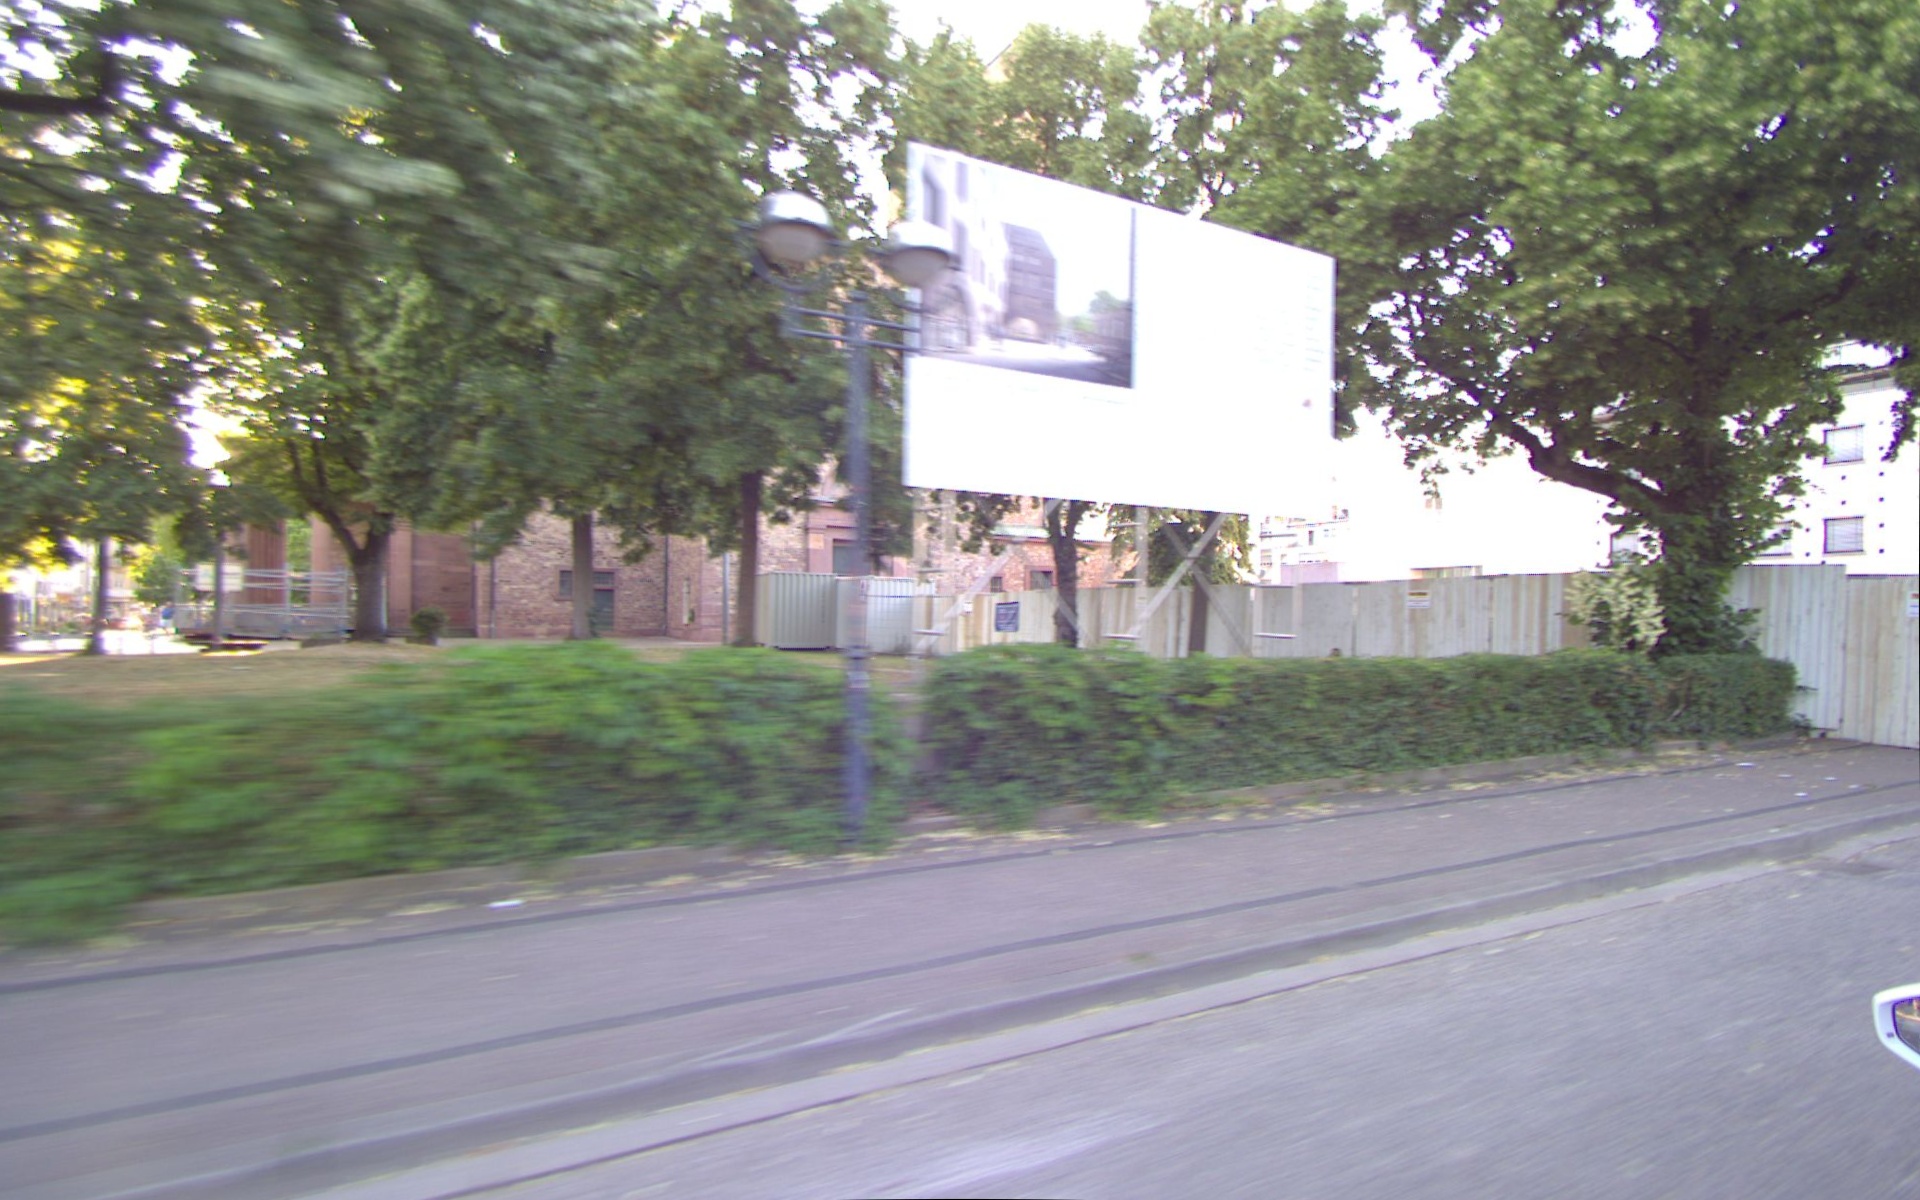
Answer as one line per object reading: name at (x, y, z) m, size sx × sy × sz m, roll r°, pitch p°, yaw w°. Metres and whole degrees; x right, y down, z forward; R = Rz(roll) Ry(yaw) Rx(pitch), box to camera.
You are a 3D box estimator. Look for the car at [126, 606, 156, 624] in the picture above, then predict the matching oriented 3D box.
car at (-94.326, 1.780, 115.684) m, size 1.976 × 2.040 × 3.969 m, roll 1°, pitch -2°, yaw -30°
